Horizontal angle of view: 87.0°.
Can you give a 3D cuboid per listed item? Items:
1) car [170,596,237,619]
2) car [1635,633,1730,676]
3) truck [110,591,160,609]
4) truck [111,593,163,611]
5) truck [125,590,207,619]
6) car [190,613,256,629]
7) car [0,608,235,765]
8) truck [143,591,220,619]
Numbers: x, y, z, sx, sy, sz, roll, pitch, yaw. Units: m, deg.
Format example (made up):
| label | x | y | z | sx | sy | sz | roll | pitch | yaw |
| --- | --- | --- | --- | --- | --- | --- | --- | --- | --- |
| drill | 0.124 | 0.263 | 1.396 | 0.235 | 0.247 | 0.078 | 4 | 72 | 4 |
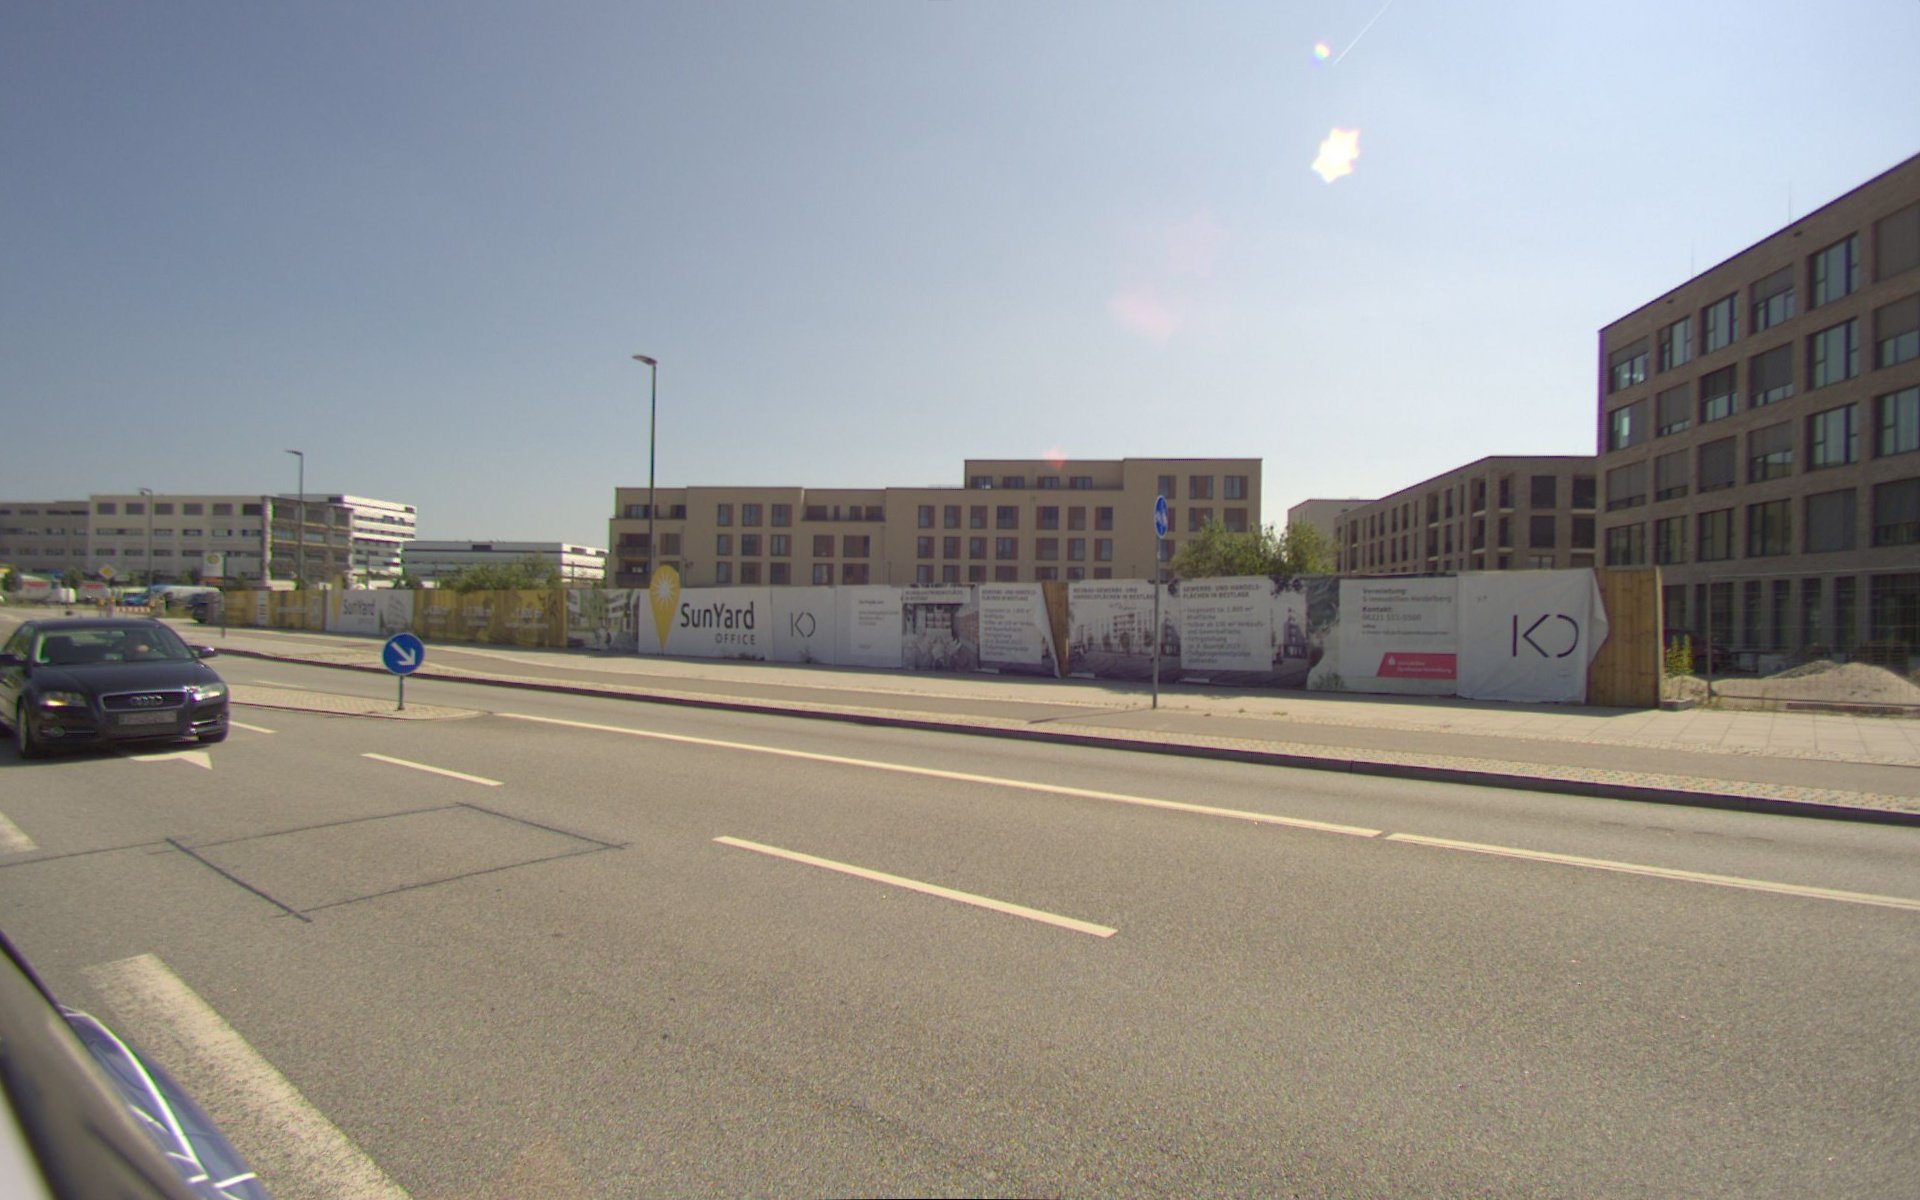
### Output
| label | x | y | z | sx | sy | sz | roll | pitch | yaw |
| --- | --- | --- | --- | --- | --- | --- | --- | --- | --- |
| car | -60.352 | 0.585 | 80.776 | 1.888 | 1.731 | 3.885 | 0 | 1 | 35 |
| car | 32.012 | 2.376 | 44.983 | 1.814 | 1.666 | 3.772 | 0 | 0 | 7 |
| truck | -120.240 | -0.045 | 147.559 | 1.998 | 2.494 | 5.346 | 0 | 1 | 38 |
| truck | -114.911 | 0.271 | 141.391 | 1.996 | 2.494 | 5.270 | 0 | 1 | 36 |
| truck | -72.469 | 0.366 | 92.401 | 1.996 | 2.494 | 5.567 | 0 | 1 | 36 |
| car | -48.238 | 1.347 | 66.278 | 1.293 | 0.960 | 3.315 | 0 | 1 | 43 |
| car | -9.791 | 0.829 | 11.486 | 3.998 | 1.422 | 1.688 | 0 | 1 | 41 |
| truck | -67.082 | 0.405 | 87.288 | 1.998 | 2.245 | 4.942 | 0 | 1 | 39 |
